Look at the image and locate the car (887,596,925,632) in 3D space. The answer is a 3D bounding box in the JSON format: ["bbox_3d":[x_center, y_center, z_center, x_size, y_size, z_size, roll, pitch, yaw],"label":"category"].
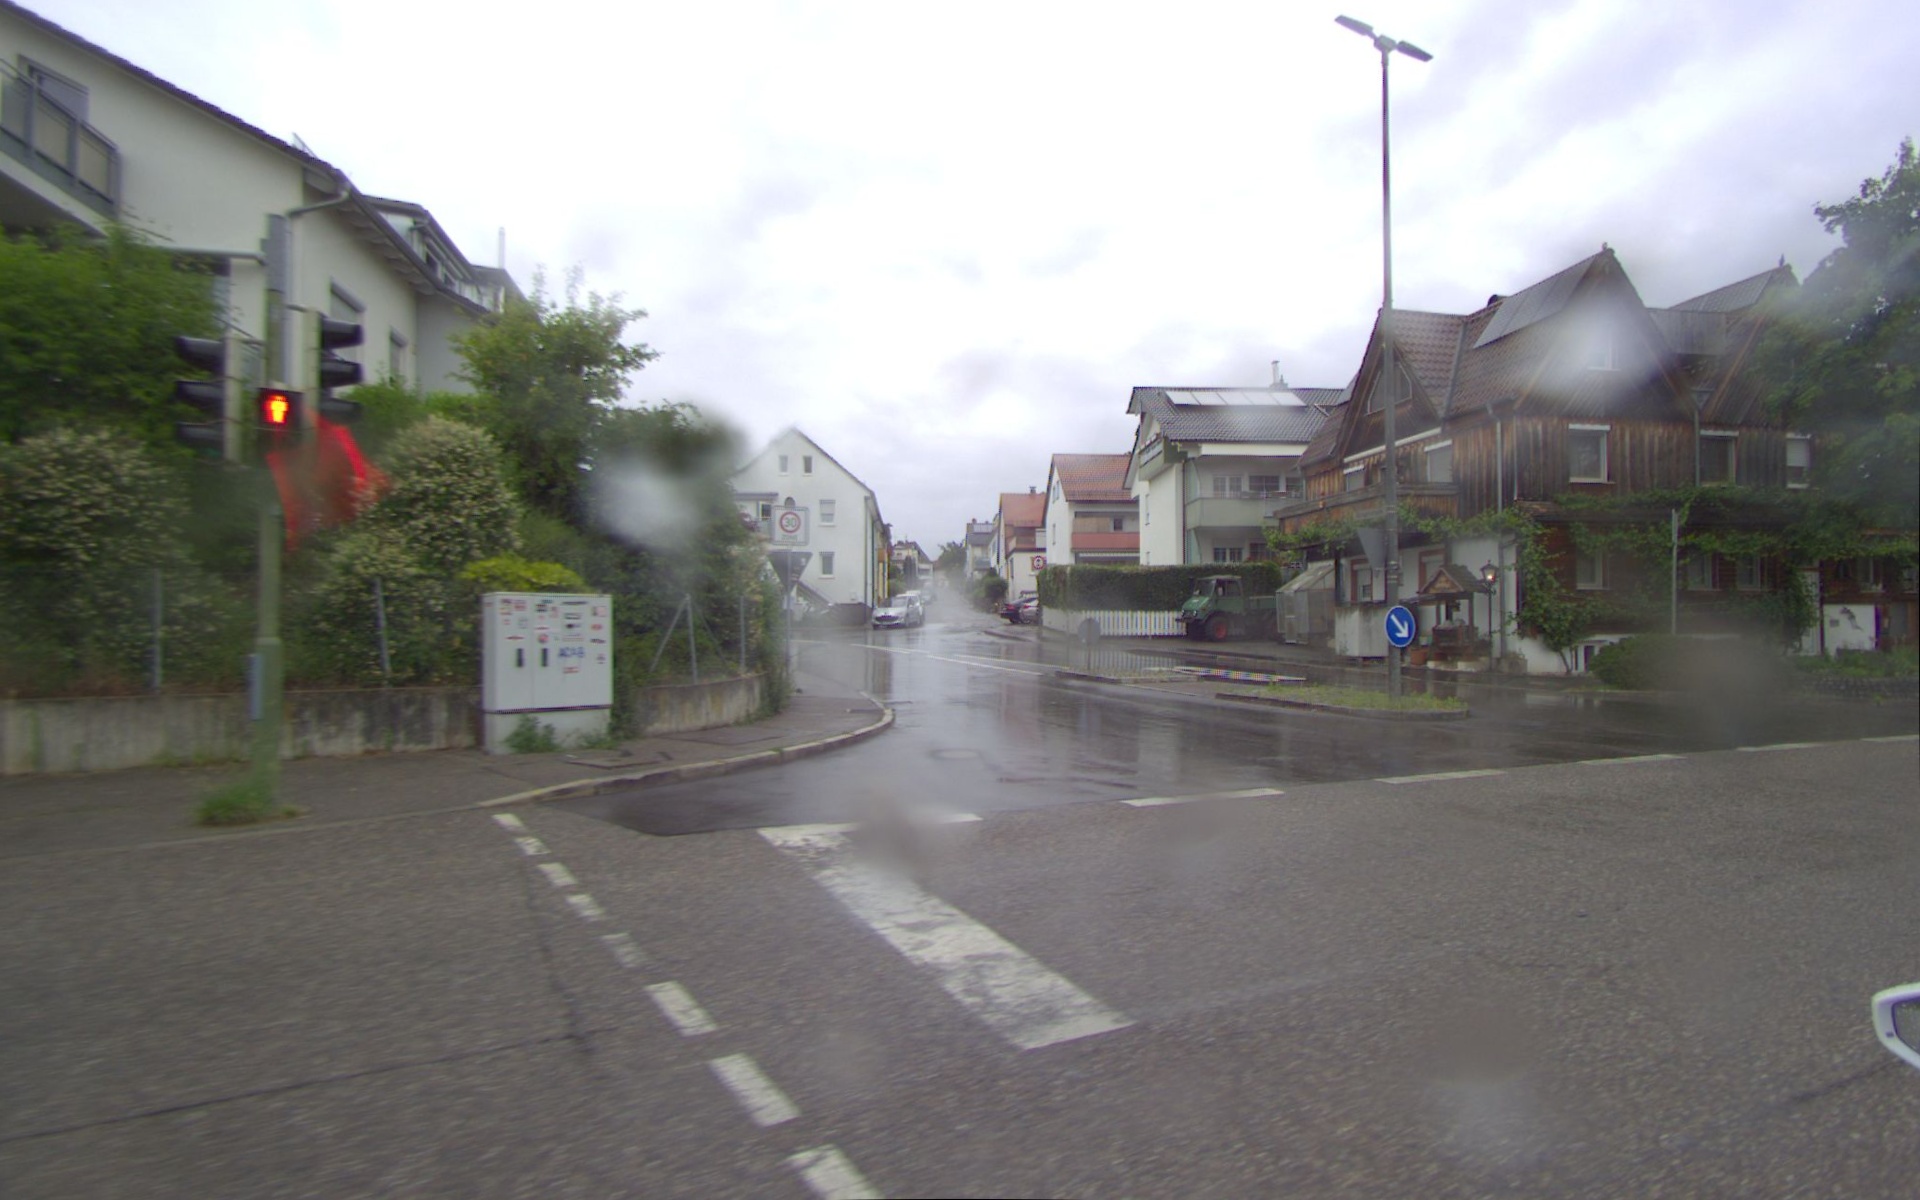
[{"bbox_3d":[-2.992,0.765,56.395,1.961,1.759,3.998,0,3,-1],"label":"car"}]

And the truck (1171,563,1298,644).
[{"bbox_3d":[9.330,0.173,34.257,3.778,2.647,1.777,1,-2,-13],"label":"truck"}]

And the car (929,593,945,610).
[{"bbox_3d":[-2.827,0.203,123.076,1.864,1.853,3.998,0,3,-1],"label":"car"}]

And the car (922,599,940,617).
[{"bbox_3d":[-3.195,0.853,111.365,1.809,1.747,3.999,1,2,0],"label":"car"}]

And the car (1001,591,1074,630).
[{"bbox_3d":[4.298,0.570,55.890,3.920,2.040,2.001,1,0,3],"label":"car"}]

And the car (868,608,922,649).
[{"bbox_3d":[-3.224,1.389,50.665,1.959,1.759,4.001,0,3,8],"label":"car"}]

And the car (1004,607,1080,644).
[{"bbox_3d":[4.271,1.333,52.653,3.920,1.862,2.001,0,-2,3],"label":"car"}]

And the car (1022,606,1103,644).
[{"bbox_3d":[5.082,1.276,50.024,3.920,1.837,2.001,0,-2,3],"label":"car"}]

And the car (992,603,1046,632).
[{"bbox_3d":[4.422,1.294,75.666,3.920,2.040,2.001,1,0,3],"label":"car"}]

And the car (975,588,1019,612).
[{"bbox_3d":[3.343,0.023,91.490,3.920,2.040,2.001,1,0,3],"label":"car"}]

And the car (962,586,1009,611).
[{"bbox_3d":[2.238,-0.159,86.665,3.920,2.040,2.001,1,0,3],"label":"car"}]

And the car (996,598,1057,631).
[{"bbox_3d":[4.404,0.958,66.320,3.920,2.040,2.001,1,0,3],"label":"car"}]
